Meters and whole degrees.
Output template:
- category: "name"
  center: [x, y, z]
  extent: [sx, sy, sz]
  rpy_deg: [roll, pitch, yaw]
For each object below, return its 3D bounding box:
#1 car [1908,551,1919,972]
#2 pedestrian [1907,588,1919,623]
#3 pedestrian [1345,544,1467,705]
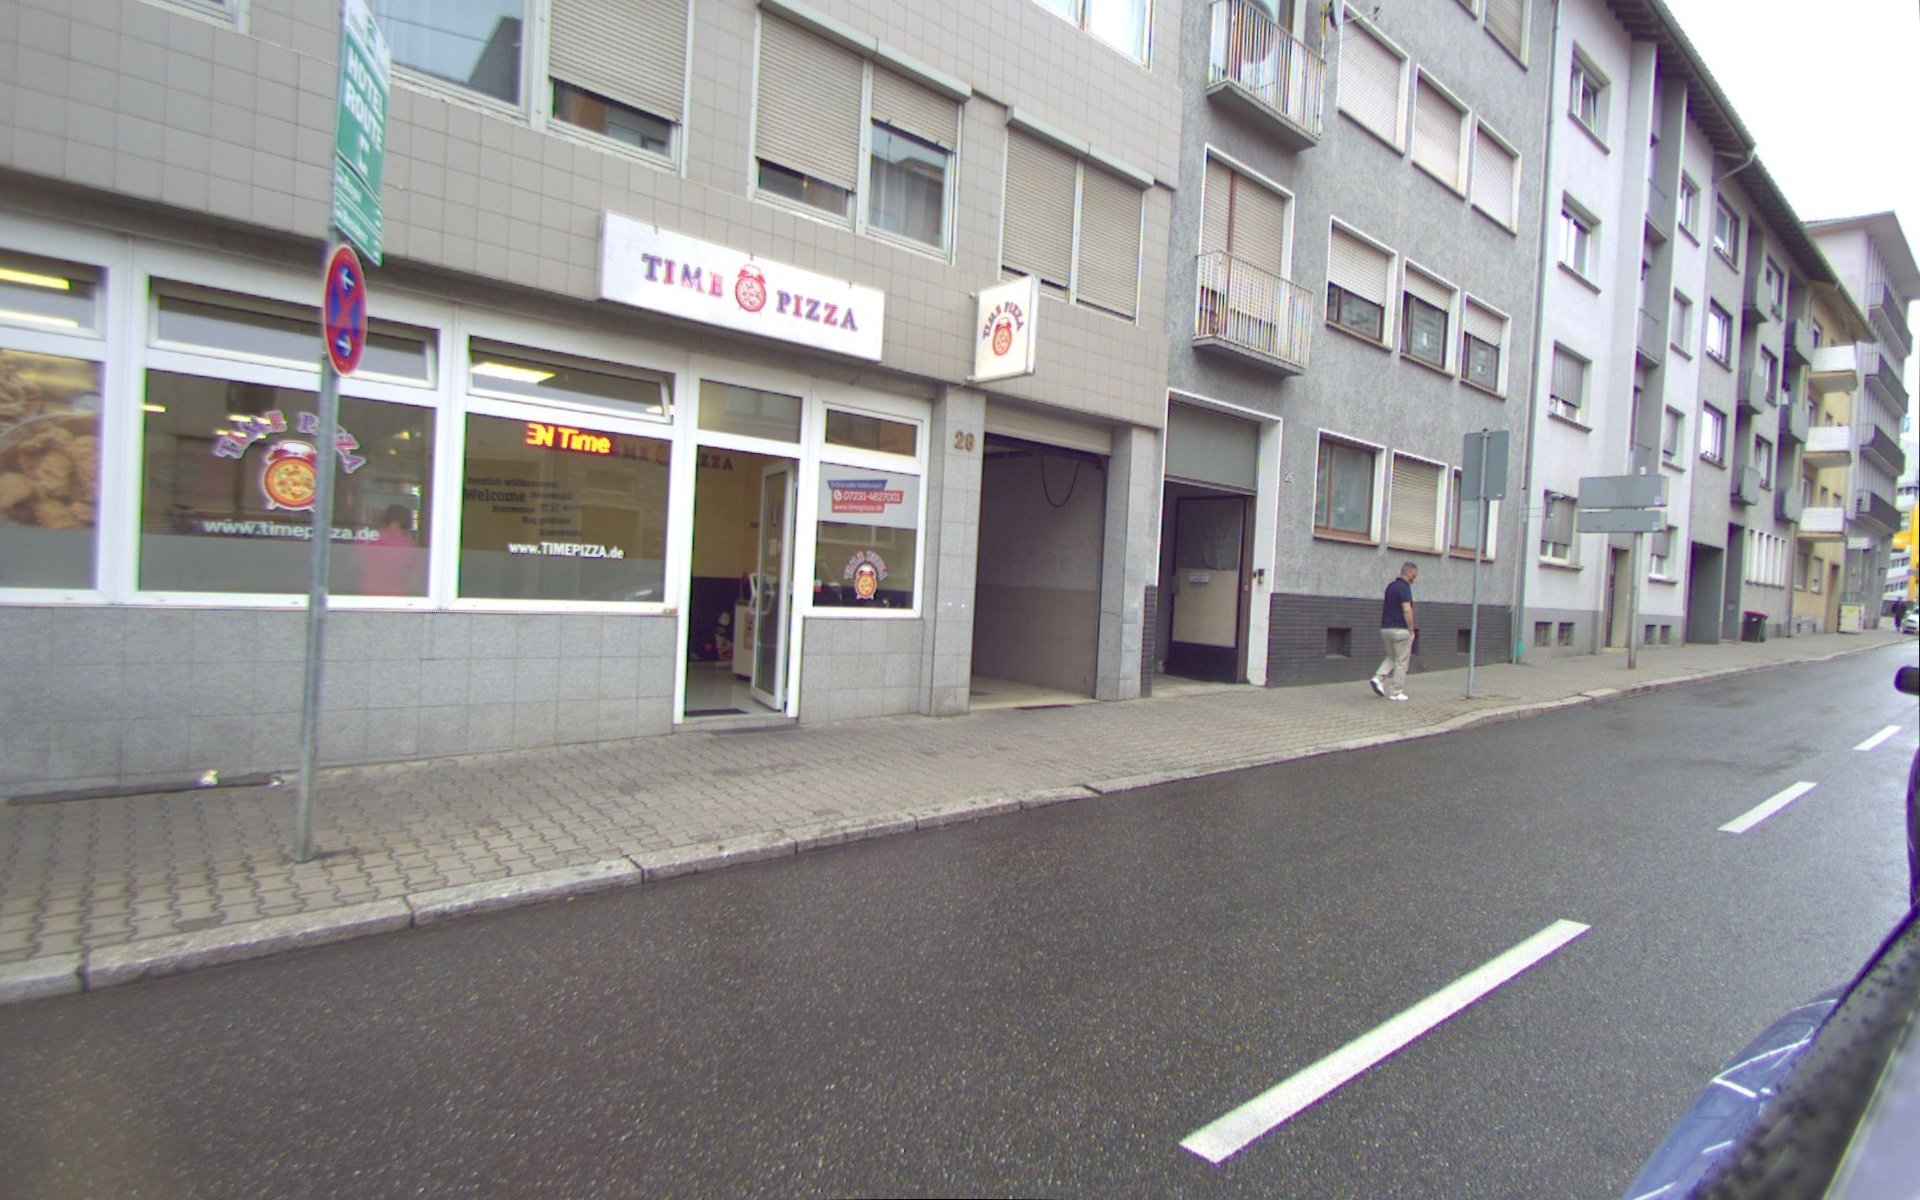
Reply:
- category: "car"
  center: [6.064, 0.650, 4.927]
  extent: [4.144, 1.743, 1.697]
  rpy_deg: [-1, 0, -41]
- category: "pedestrian"
  center: [49.476, 0.283, 52.002]
  extent: [1.117, 1.772, 0.946]
  rpy_deg: [4, 3, 44]
- category: "pedestrian"
  center: [5.664, 0.278, 12.868]
  extent: [1.100, 1.887, 0.871]
  rpy_deg: [0, 6, -41]
